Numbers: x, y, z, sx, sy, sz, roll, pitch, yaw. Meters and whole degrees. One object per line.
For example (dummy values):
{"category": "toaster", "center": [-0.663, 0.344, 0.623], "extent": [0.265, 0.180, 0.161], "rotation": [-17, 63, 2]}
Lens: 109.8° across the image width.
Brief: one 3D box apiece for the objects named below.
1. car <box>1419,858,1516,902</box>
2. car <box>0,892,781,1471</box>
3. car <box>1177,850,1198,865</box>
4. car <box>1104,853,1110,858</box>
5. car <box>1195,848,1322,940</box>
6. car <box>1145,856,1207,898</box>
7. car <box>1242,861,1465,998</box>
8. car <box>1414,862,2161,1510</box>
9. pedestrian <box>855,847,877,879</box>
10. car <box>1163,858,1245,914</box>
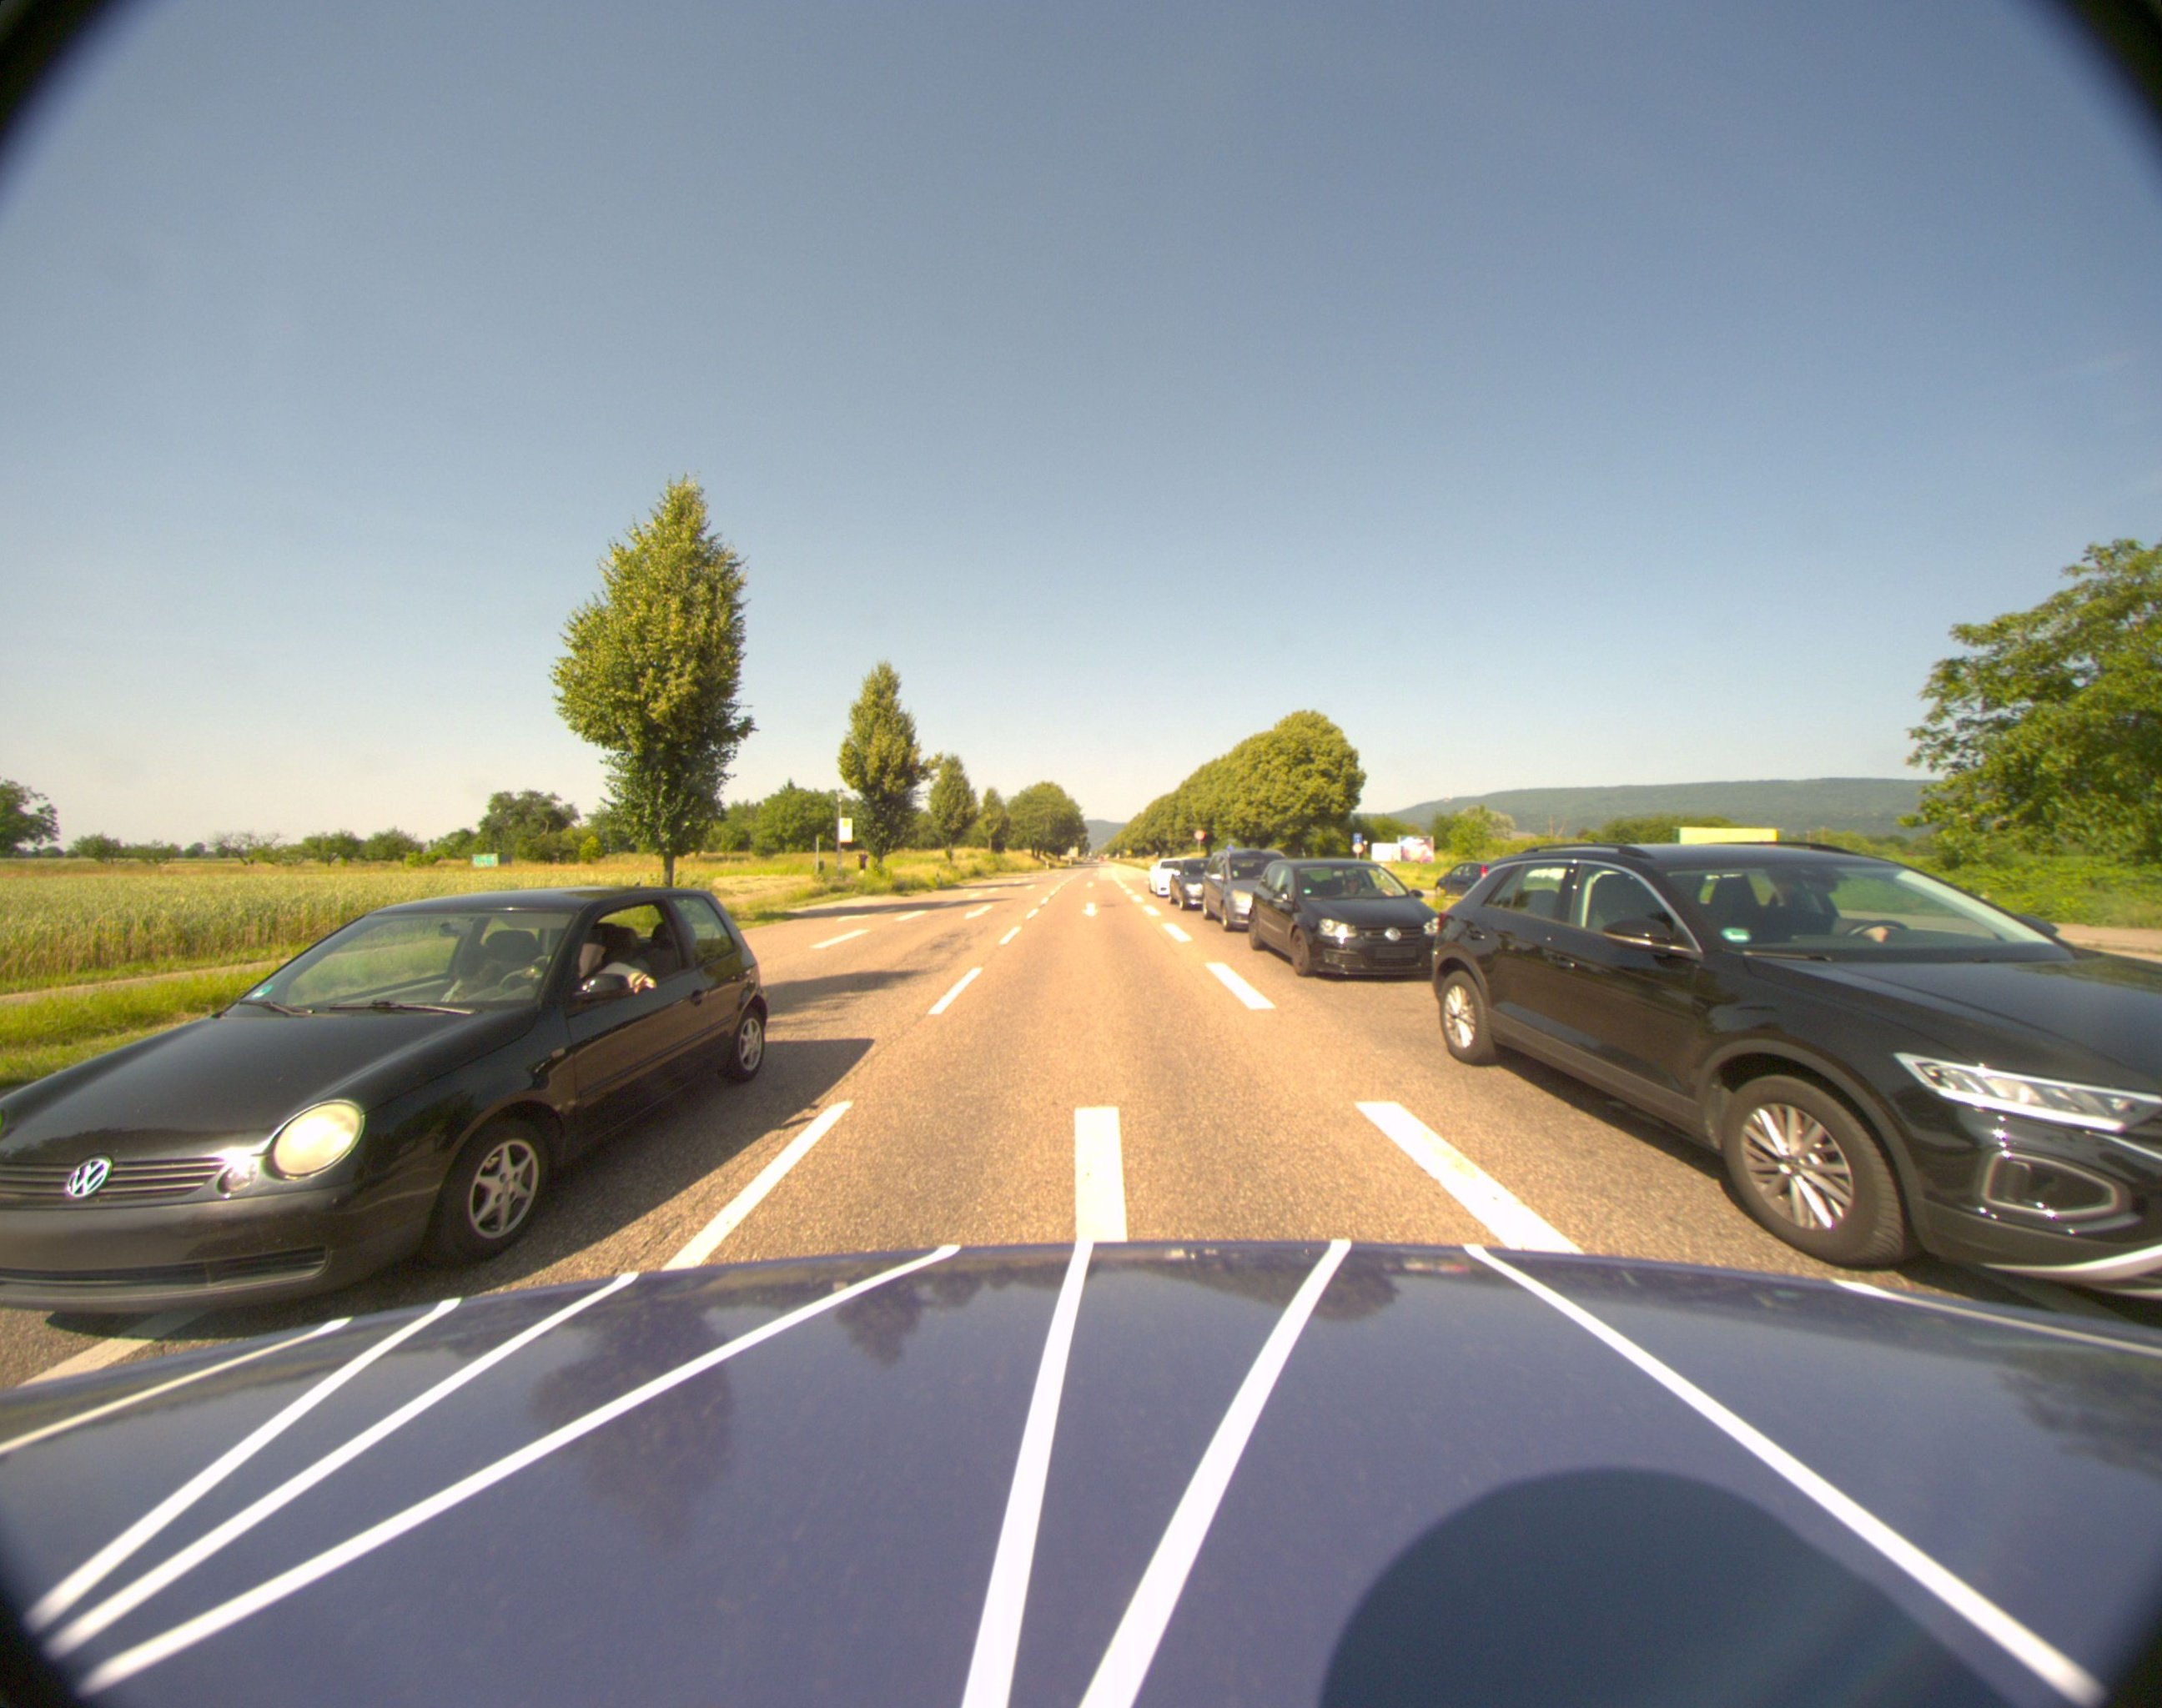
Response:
{"category": "car", "center": [14.271, 0.913, 28.283], "extent": [1.618, 1.433, 3.775], "rotation": [2, 0, 0]}
{"category": "car", "center": [-3.112, 1.028, 3.947], "extent": [1.629, 1.425, 3.622], "rotation": [-2, 0, 0]}
{"category": "car", "center": [11.628, 0.364, 83.110], "extent": [1.887, 1.506, 4.148], "rotation": [2, 0, 2]}
{"category": "car", "center": [7.876, 0.461, 230.196], "extent": [1.680, 1.499, 3.725], "rotation": [0, 0, 1]}
{"category": "car", "center": [3.612, 0.741, 16.274], "extent": [1.745, 1.662, 4.357], "rotation": [-1, 0, 1]}
{"category": "car", "center": [3.563, 0.837, 29.213], "extent": [1.808, 1.417, 4.641], "rotation": [-1, 0, 1]}
{"category": "car", "center": [3.464, 0.864, 10.494], "extent": [1.670, 1.466, 4.098], "rotation": [-1, 0, 1]}
{"category": "car", "center": [3.453, 0.846, 3.914], "extent": [1.733, 1.538, 4.098], "rotation": [-1, 0, 1]}
{"category": "pedestrian", "center": [-12.462, 0.497, 44.061], "extent": [0.904, 1.828, 1.194], "rotation": [0, 0, -1]}
{"category": "car", "center": [3.483, 0.860, 22.227], "extent": [1.719, 1.402, 4.355], "rotation": [-2, 0, 1]}
